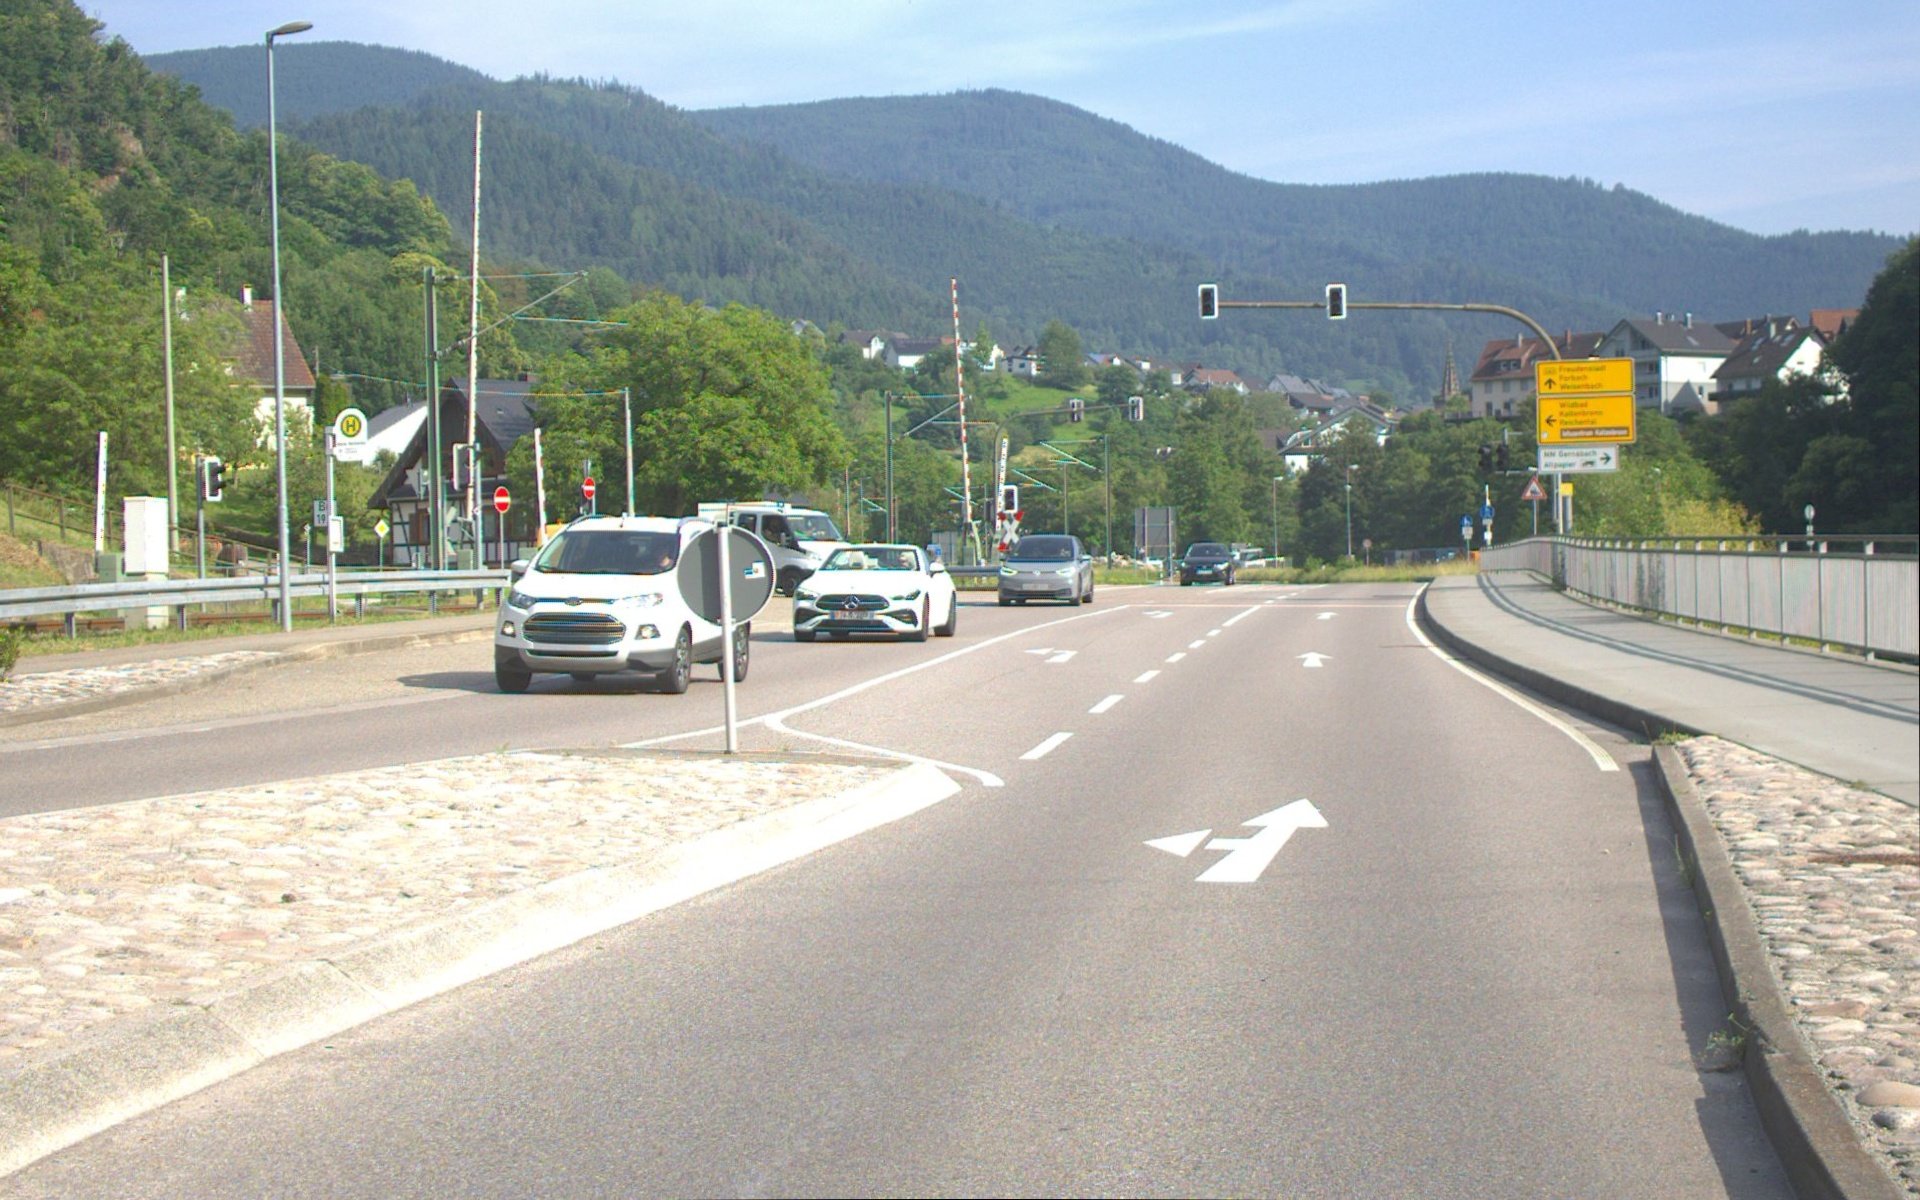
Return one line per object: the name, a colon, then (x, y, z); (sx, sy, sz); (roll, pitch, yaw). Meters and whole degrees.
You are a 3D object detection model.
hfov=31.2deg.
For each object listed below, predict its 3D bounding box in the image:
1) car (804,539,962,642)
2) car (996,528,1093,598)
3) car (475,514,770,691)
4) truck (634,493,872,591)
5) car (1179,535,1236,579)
car: (-1.064, -0.154, 49.648); (1.782, 1.395, 4.826); (1, 1, 5)
car: (1.900, -0.831, 76.164); (1.759, 1.516, 4.203); (0, 1, 7)
car: (-3.155, -0.010, 32.960); (1.764, 1.555, 3.998); (1, 1, 10)
truck: (-5.136, -1.454, 84.839); (5.997, 2.259, 1.995); (2, -1, 38)
car: (8.449, -1.478, 117.163); (1.773, 1.412, 3.784); (-1, 1, 6)
